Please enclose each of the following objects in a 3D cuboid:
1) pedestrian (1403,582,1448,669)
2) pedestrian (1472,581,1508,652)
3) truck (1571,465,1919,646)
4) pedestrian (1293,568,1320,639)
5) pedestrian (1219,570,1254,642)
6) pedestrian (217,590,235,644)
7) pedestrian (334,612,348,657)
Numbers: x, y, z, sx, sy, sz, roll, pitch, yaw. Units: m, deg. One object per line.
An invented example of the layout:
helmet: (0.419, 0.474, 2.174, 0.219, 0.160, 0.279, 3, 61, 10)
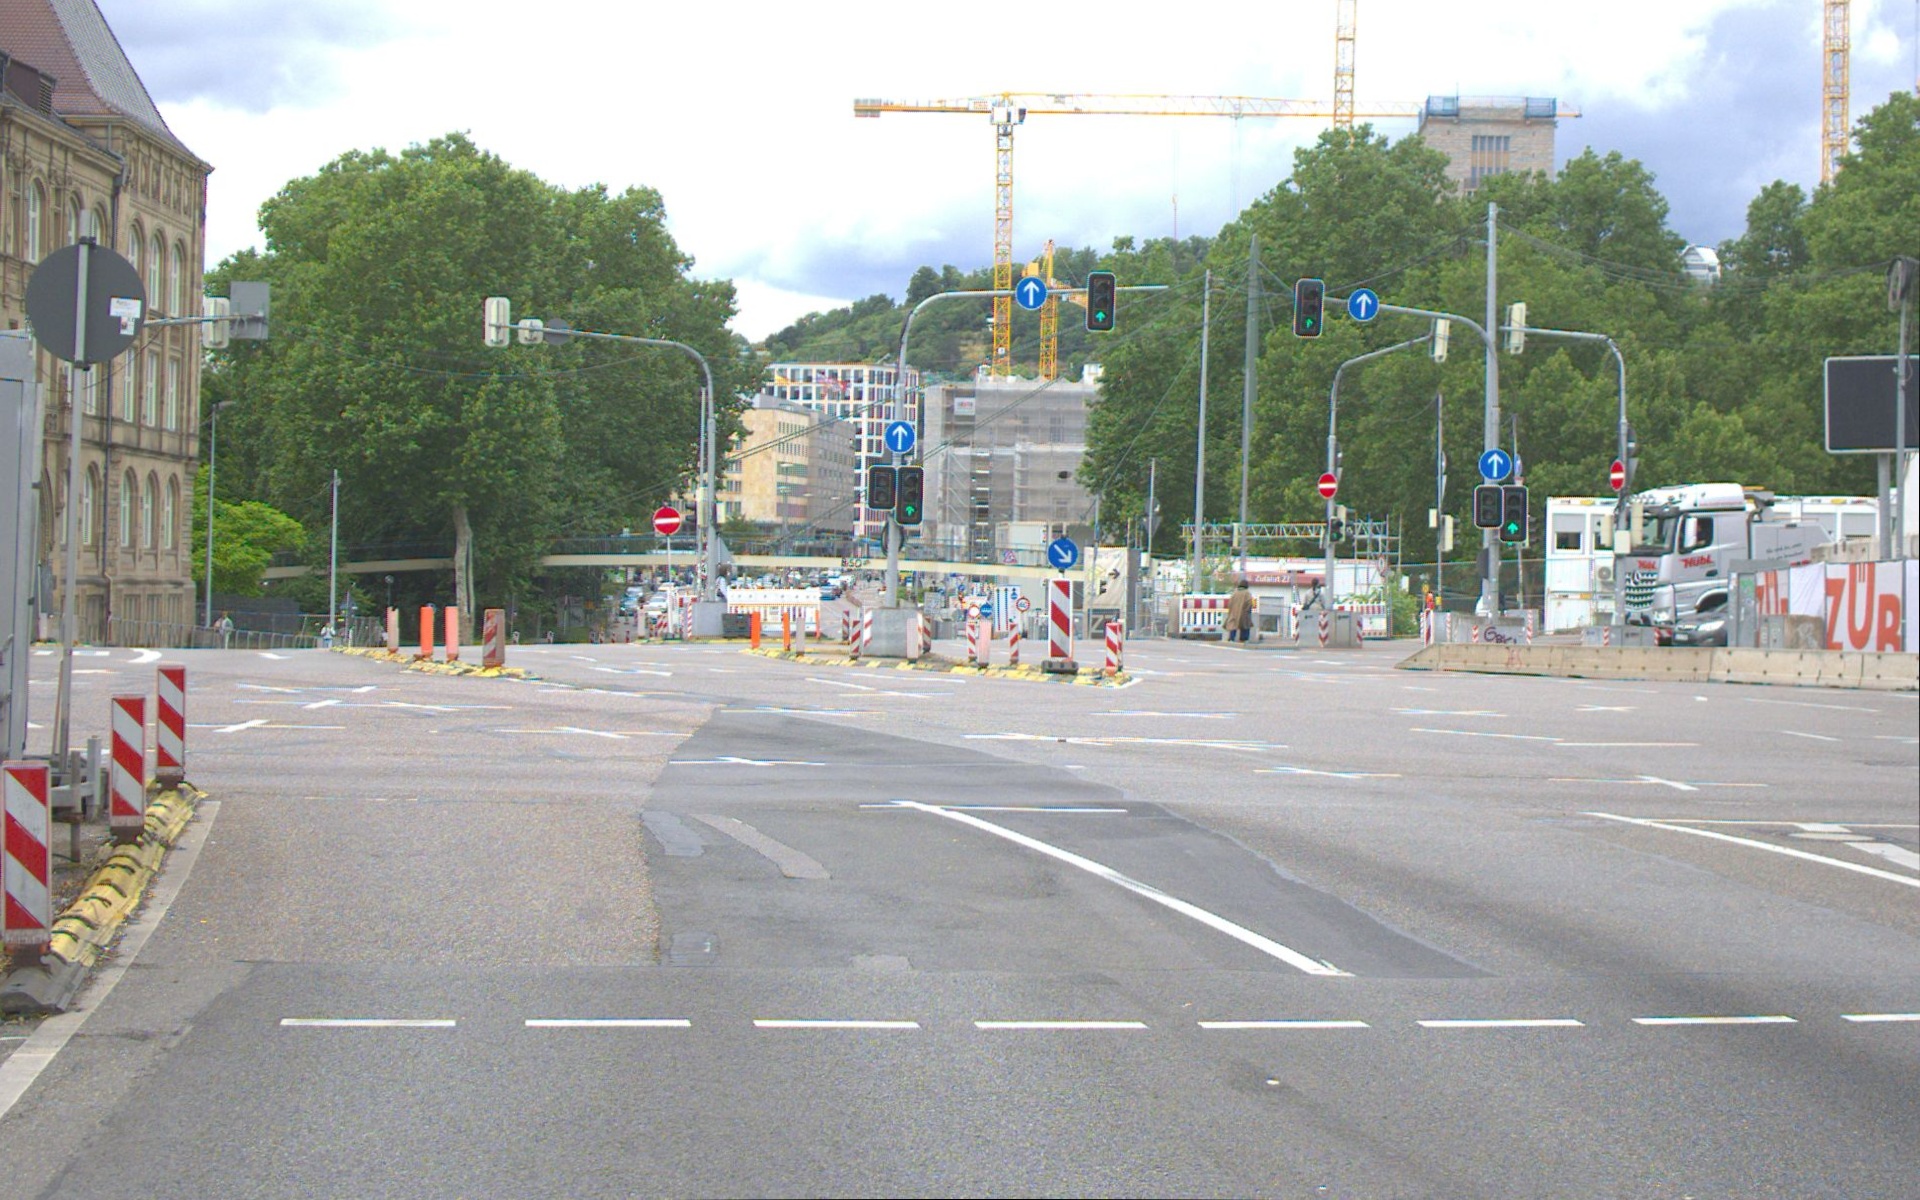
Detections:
pedestrian: (9.132, 0.493, 67.485, 0.729, 1.683, 0.678, 1, 1, -1)
pedestrian: (12.899, 0.397, 83.652, 0.622, 1.683, 0.710, 2, 1, 29)
truck: (21.360, -1.004, 82.008, 13.022, 4.027, 3.952, 1, 1, -20)
pedestrian: (8.400, 0.085, 83.371, 0.566, 1.683, 0.472, 1, 1, -1)
pedestrian: (6.618, 0.147, 82.347, 0.729, 1.683, 0.678, 1, 1, -1)
pedestrian: (-27.399, 0.635, 128.338, 0.524, 2.007, 0.567, 1, 1, 0)
pedestrian: (-28.113, 1.555, 156.198, 0.524, 2.007, 0.567, 1, 1, 0)
